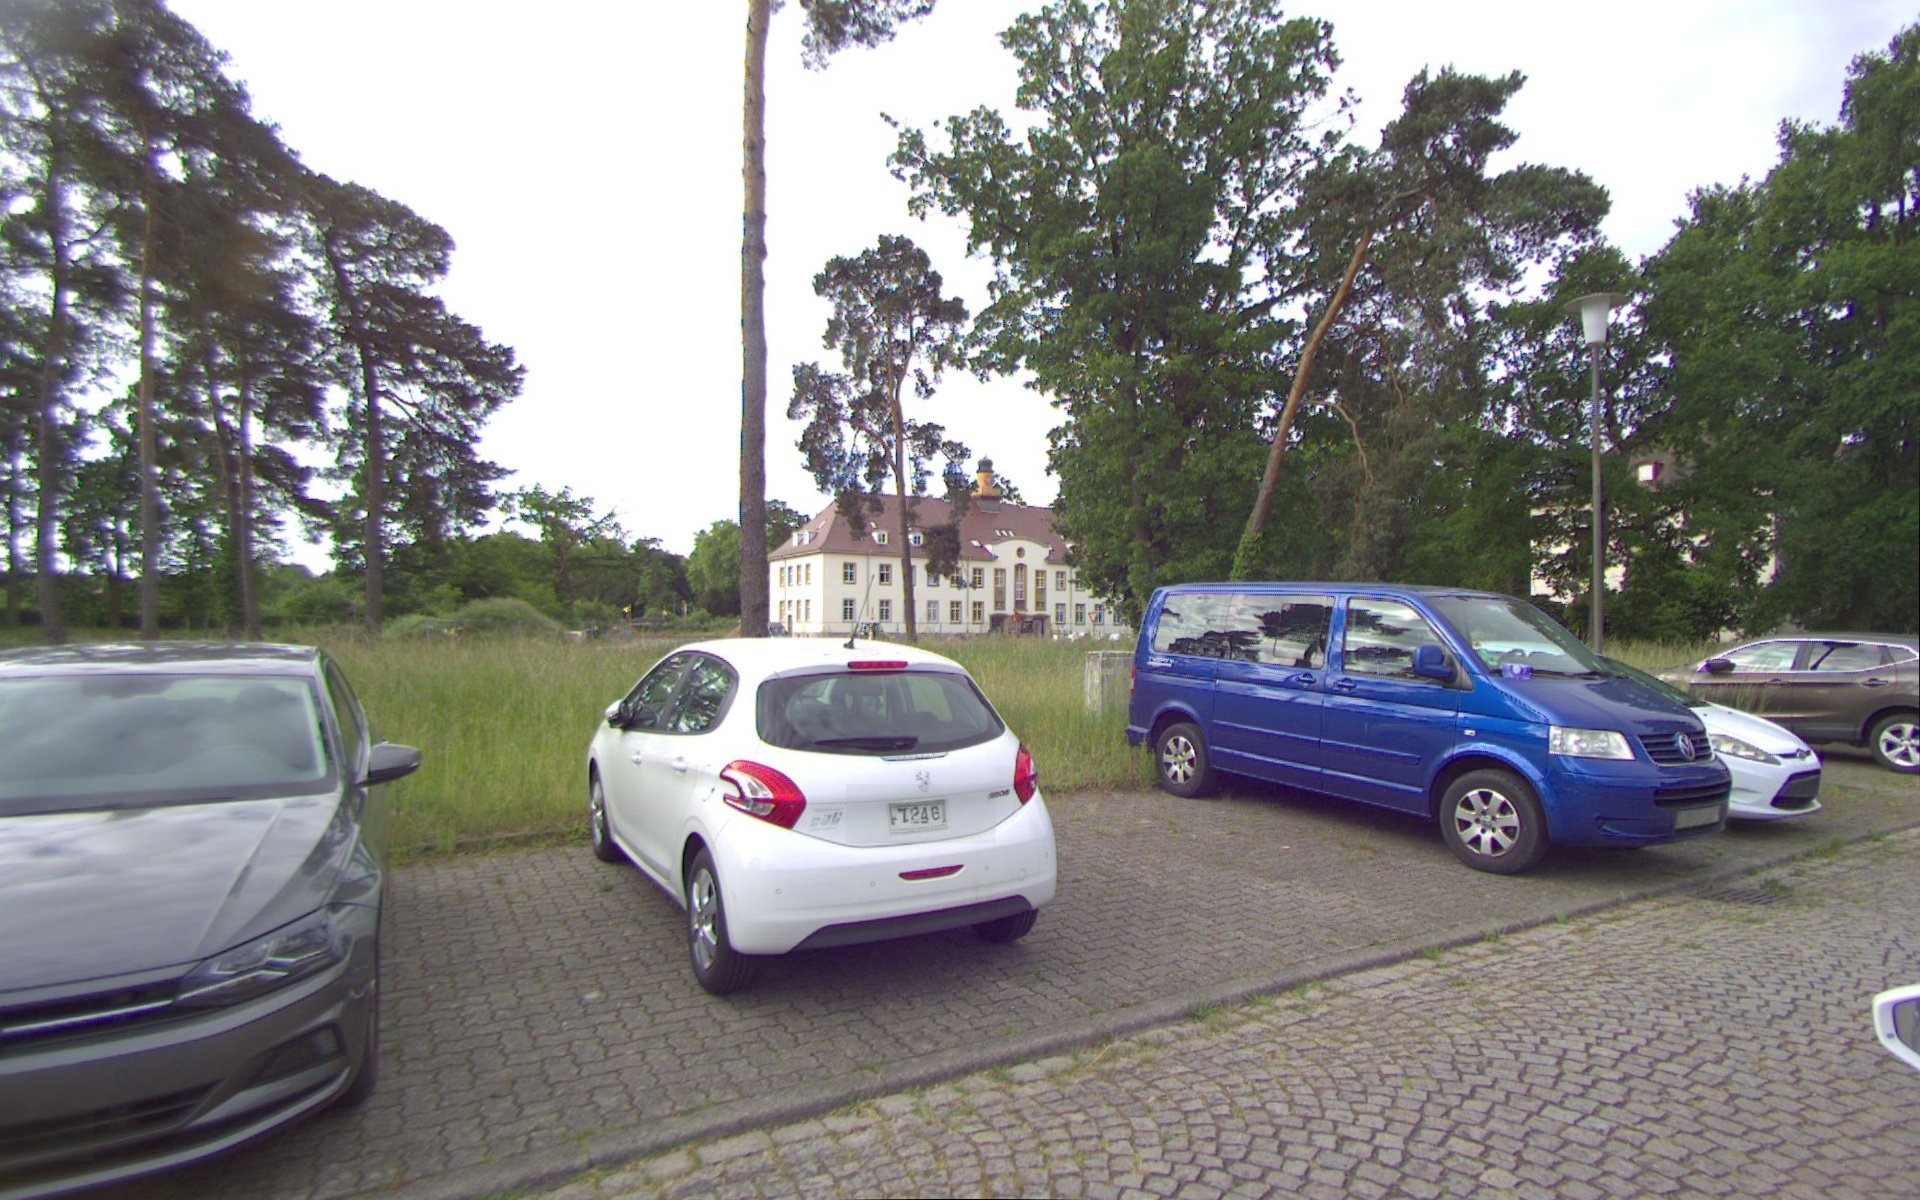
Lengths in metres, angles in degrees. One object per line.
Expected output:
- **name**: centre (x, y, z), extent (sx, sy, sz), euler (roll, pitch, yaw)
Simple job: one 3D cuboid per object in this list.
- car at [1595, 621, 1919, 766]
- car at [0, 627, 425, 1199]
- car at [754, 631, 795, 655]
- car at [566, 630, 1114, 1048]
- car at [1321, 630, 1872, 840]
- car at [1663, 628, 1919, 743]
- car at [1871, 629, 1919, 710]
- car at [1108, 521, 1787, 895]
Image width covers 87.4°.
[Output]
- **car**: centre (10.974, 1.099, 13.095), extent (1.965, 1.643, 4.143), euler (1, -2, -33)
- **car**: centre (-3.239, 0.868, 4.083), extent (1.842, 1.511, 4.149), euler (1, -2, -29)
- **car**: centre (-18.392, 4.245, 99.575), extent (1.982, 2.229, 4.984), euler (1, -2, -38)
- **car**: centre (-1.063, 0.944, 5.929), extent (1.823, 1.517, 4.050), euler (1, -2, -29)
- **car**: centre (5.772, 1.063, 9.666), extent (1.762, 1.530, 4.143), euler (1, -2, -32)
- **car**: centre (13.123, 1.176, 14.792), extent (1.886, 1.530, 4.145), euler (1, -2, -31)
- **car**: centre (19.709, 1.310, 18.465), extent (1.883, 1.545, 4.034), euler (1, -2, -32)
- **car**: centre (3.560, 0.687, 8.388), extent (2.091, 2.150, 4.758), euler (1, -2, -31)
